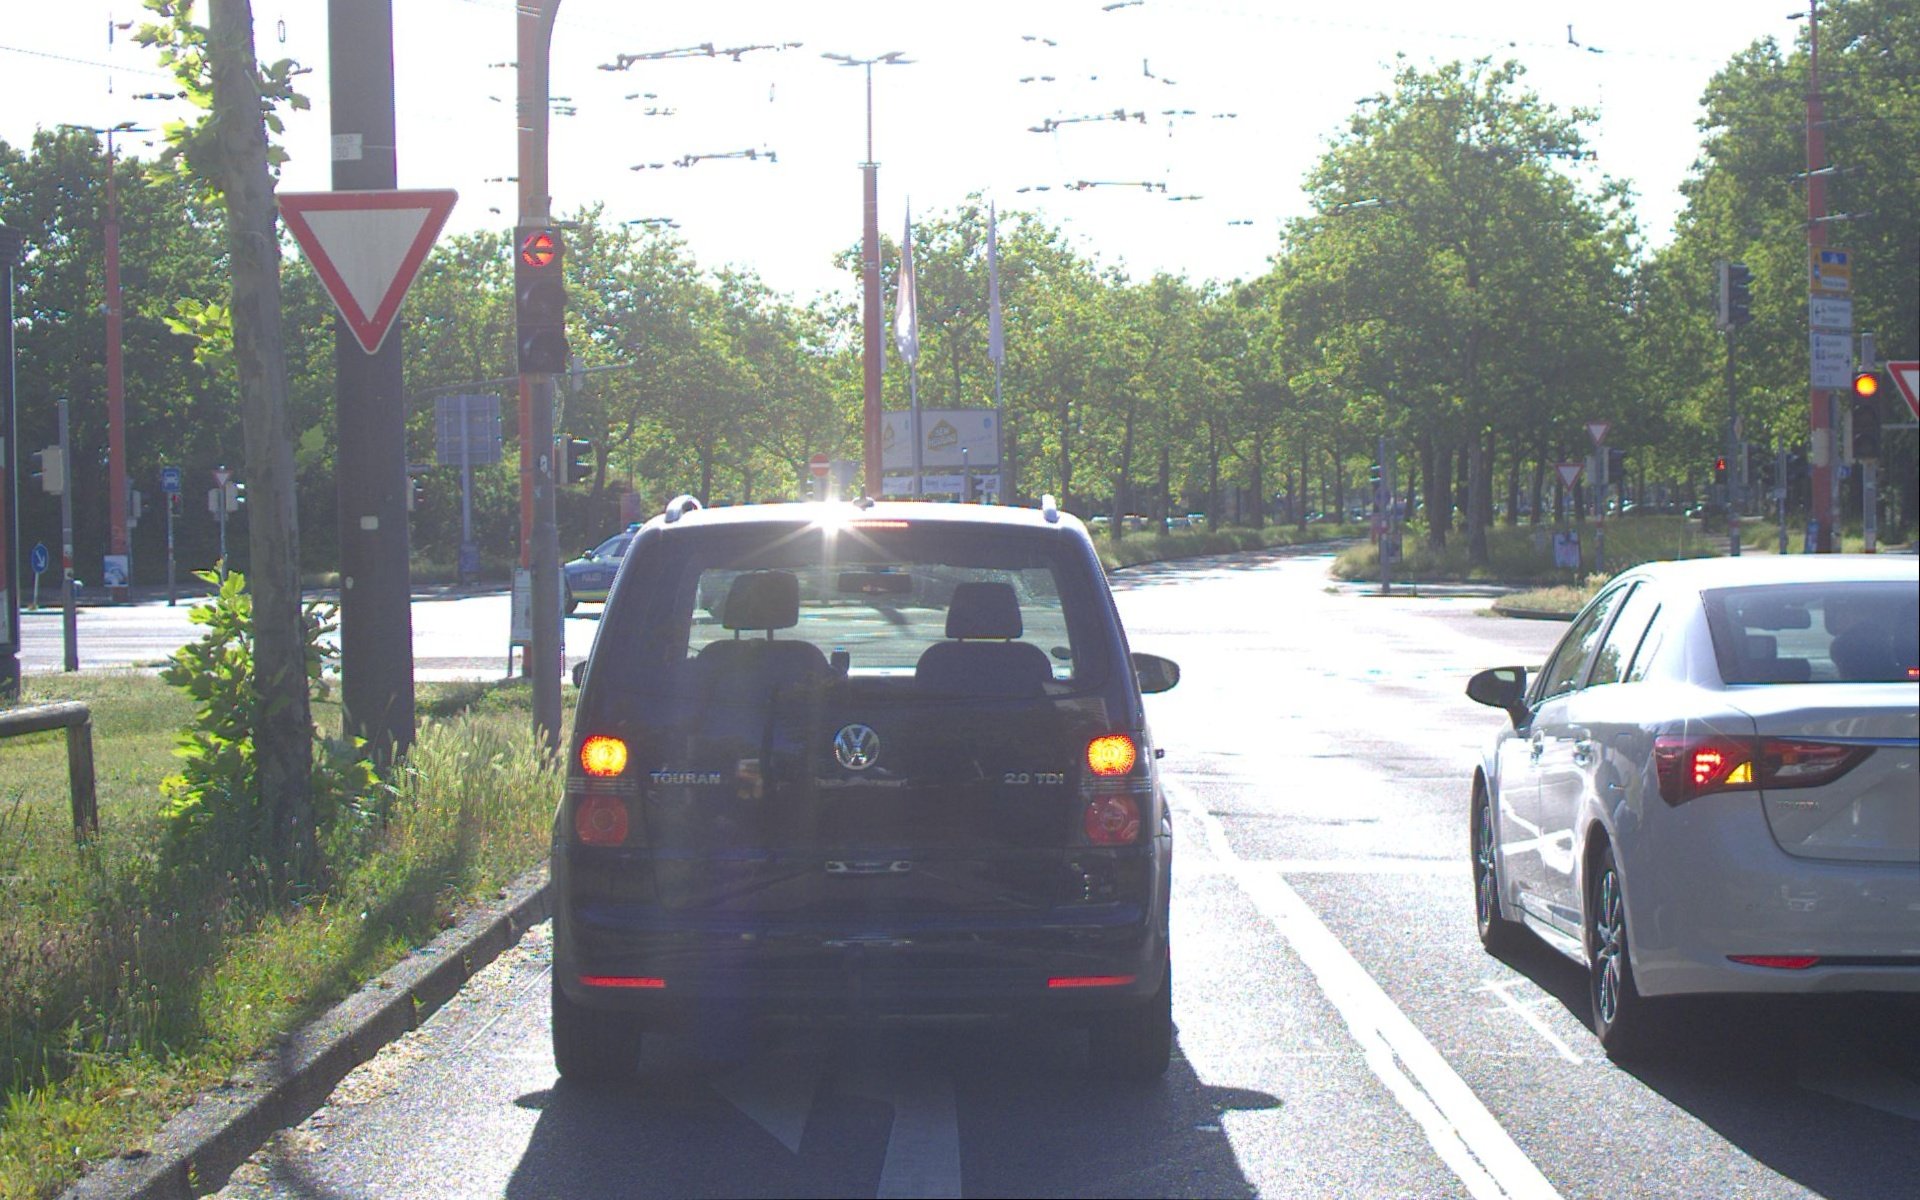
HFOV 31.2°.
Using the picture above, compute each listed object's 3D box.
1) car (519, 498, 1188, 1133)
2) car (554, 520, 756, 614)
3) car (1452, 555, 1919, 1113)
[{"bbox_3d":[-0.299,0.514,10.754,1.700,1.616,3.897,0,1,-1],"label":"car"},{"bbox_3d":[-5.621,-0.625,63.006,1.798,1.650,4.113,-1,1,-37],"label":"car"},{"bbox_3d":[2.715,0.589,11.073,1.720,1.433,4.198,1,1,1],"label":"car"}]
